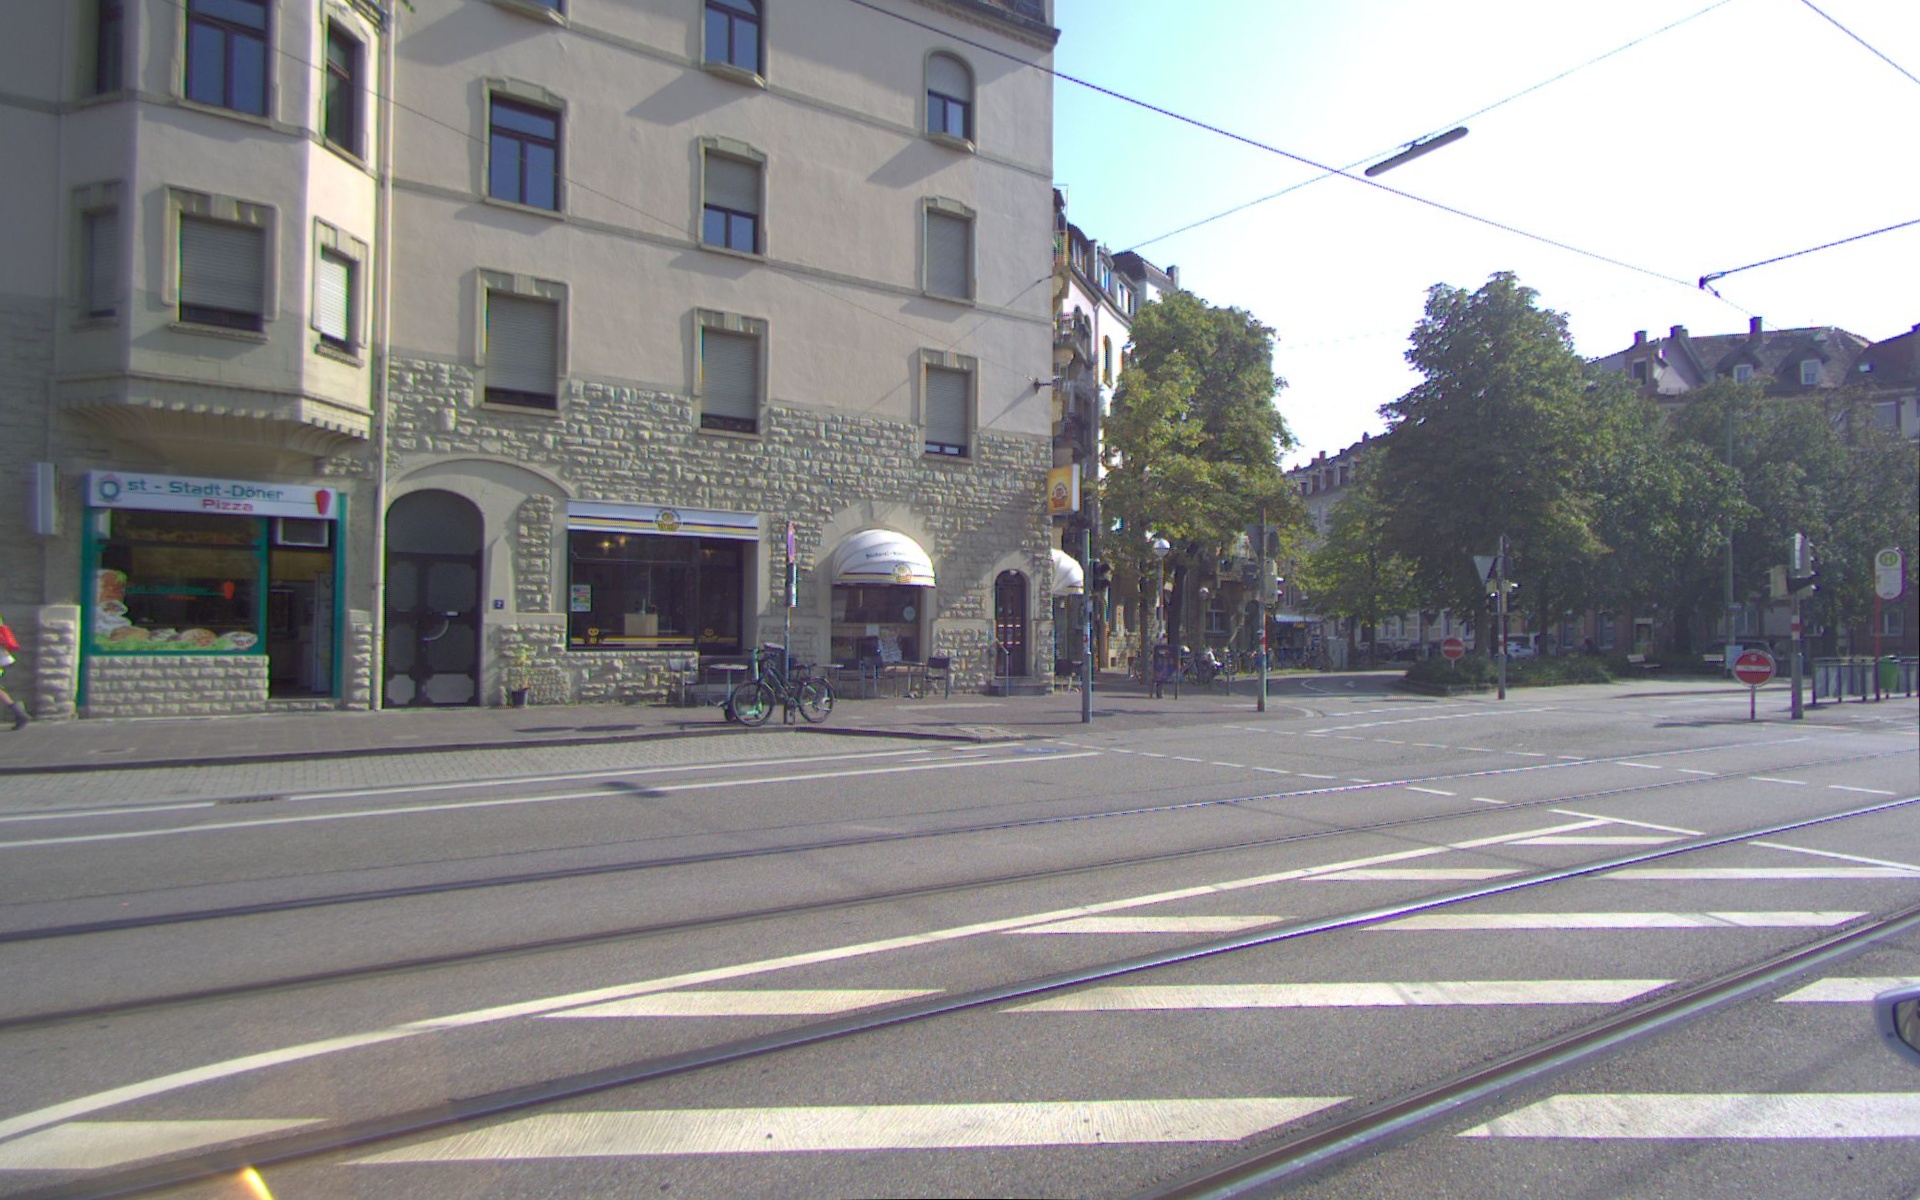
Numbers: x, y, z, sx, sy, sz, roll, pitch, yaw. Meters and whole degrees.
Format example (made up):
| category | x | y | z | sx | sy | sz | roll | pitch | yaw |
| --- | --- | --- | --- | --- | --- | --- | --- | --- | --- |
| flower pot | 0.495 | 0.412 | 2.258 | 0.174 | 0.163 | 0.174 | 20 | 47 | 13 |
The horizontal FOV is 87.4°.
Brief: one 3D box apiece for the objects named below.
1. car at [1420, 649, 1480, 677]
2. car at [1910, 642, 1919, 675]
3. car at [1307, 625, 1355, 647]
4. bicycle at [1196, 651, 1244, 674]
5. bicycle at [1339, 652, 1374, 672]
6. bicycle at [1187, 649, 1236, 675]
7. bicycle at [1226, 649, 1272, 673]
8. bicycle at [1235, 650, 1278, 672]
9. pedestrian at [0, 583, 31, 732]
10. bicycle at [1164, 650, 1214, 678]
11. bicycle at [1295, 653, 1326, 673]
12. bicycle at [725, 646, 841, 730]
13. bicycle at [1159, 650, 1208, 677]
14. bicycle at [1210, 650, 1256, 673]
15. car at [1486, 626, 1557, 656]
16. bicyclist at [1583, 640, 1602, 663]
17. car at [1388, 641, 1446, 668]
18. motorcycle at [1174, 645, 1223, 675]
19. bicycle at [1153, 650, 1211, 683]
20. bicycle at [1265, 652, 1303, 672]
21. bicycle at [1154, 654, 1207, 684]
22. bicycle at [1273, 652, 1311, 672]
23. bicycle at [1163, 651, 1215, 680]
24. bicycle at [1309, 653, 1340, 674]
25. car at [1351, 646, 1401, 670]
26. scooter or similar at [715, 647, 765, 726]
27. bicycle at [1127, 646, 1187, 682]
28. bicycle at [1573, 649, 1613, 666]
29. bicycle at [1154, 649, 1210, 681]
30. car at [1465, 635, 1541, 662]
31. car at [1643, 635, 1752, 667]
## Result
| category | x | y | z | sx | sy | sz | roll | pitch | yaw |
| --- | --- | --- | --- | --- | --- | --- | --- | --- | --- |
| car | 35.165 | 4.501 | 72.144 | 1.963 | 1.852 | 3.995 | 0 | -2 | -9 |
| car | 49.177 | 2.855 | 48.566 | 4.256 | 1.589 | 1.998 | -1 | -2 | 27 |
| car | 32.583 | 3.161 | 88.411 | 1.968 | 1.852 | 3.986 | 1 | -2 | -17 |
| bicycle | 11.091 | 2.659 | 42.799 | 1.876 | 0.947 | 0.737 | 0 | -2 | 26 |
| bicycle | 20.481 | 3.212 | 51.888 | 0.596 | 0.990 | 1.761 | 1 | -2 | -22 |
| bicycle | 10.438 | 2.561 | 41.702 | 1.843 | 1.041 | 0.663 | 0 | -2 | 26 |
| bicycle | 12.953 | 2.729 | 45.055 | 1.865 | 0.993 | 0.685 | 0 | -2 | 26 |
| bicycle | 13.699 | 2.800 | 46.429 | 1.851 | 0.947 | 0.635 | -1 | -3 | 42 |
| pedestrian | -12.593 | 0.727 | 12.875 | 0.821 | 1.884 | 0.769 | 2 | -2 | -33 |
| bicycle | 8.517 | 2.380 | 37.356 | 1.769 | 0.996 | 0.660 | 0 | -2 | 19 |
| bicycle | 17.321 | 3.107 | 49.641 | 1.750 | 0.990 | 0.422 | 1 | -2 | -32 |
| bicycle | -2.773 | 1.360 | 15.873 | 1.842 | 1.242 | 0.449 | 2 | -3 | -41 |
| bicycle | 8.529 | 2.422 | 38.370 | 1.769 | 0.989 | 0.660 | 0 | -2 | 19 |
| bicycle | 11.976 | 2.688 | 44.050 | 1.865 | 0.993 | 0.685 | 0 | -2 | 26 |
| car | 36.130 | 2.655 | 64.755 | 1.963 | 1.852 | 3.995 | 0 | -2 | -9 |
| bicyclist | 36.353 | 2.948 | 57.740 | 0.545 | 1.345 | 0.811 | 2 | -3 | -44 |
| car | 32.260 | 3.822 | 71.049 | 1.963 | 1.852 | 3.996 | 0 | -2 | -7 |
| motorcycle | 9.703 | 2.428 | 40.895 | 1.840 | 1.169 | 0.607 | 0 | -2 | 26 |
| bicycle | 7.363 | 2.202 | 33.380 | 1.840 | 1.017 | 0.570 | 1 | -2 | 6 |
| bicycle | 16.176 | 3.104 | 50.232 | 1.743 | 0.990 | 0.518 | -2 | -3 | 38 |
| bicycle | 7.019 | 2.188 | 31.939 | 1.577 | 0.932 | 0.479 | 1 | -2 | 0 |
| bicycle | 16.766 | 3.121 | 50.746 | 1.742 | 0.990 | 0.603 | -2 | -3 | 37 |
| bicycle | 8.233 | 2.358 | 36.175 | 1.769 | 0.997 | 0.570 | 0 | -2 | 19 |
| bicycle | 17.999 | 3.118 | 49.621 | 1.750 | 0.990 | 0.422 | 1 | -2 | -32 |
| car | 33.755 | 4.703 | 81.534 | 1.963 | 1.852 | 3.995 | 0 | -2 | -9 |
| scooter or similar | -3.510 | 1.358 | 16.095 | 0.359 | 1.213 | 1.035 | 0 | -2 | 13 |
| bicycle | 6.396 | 2.059 | 32.603 | 1.844 | 1.127 | 0.569 | 1 | -2 | -10 |
| bicycle | 36.353 | 3.281 | 57.689 | 0.544 | 0.970 | 1.834 | 2 | -3 | -42 |
| bicycle | 7.705 | 2.253 | 34.837 | 1.841 | 1.047 | 0.570 | 0 | -2 | 21 |
| car | 33.403 | 2.955 | 61.915 | 1.963 | 1.589 | 4.332 | 1 | -2 | -7 |
| car | 38.705 | 2.676 | 52.840 | 4.253 | 1.589 | 1.999 | -1 | -2 | 23 |
